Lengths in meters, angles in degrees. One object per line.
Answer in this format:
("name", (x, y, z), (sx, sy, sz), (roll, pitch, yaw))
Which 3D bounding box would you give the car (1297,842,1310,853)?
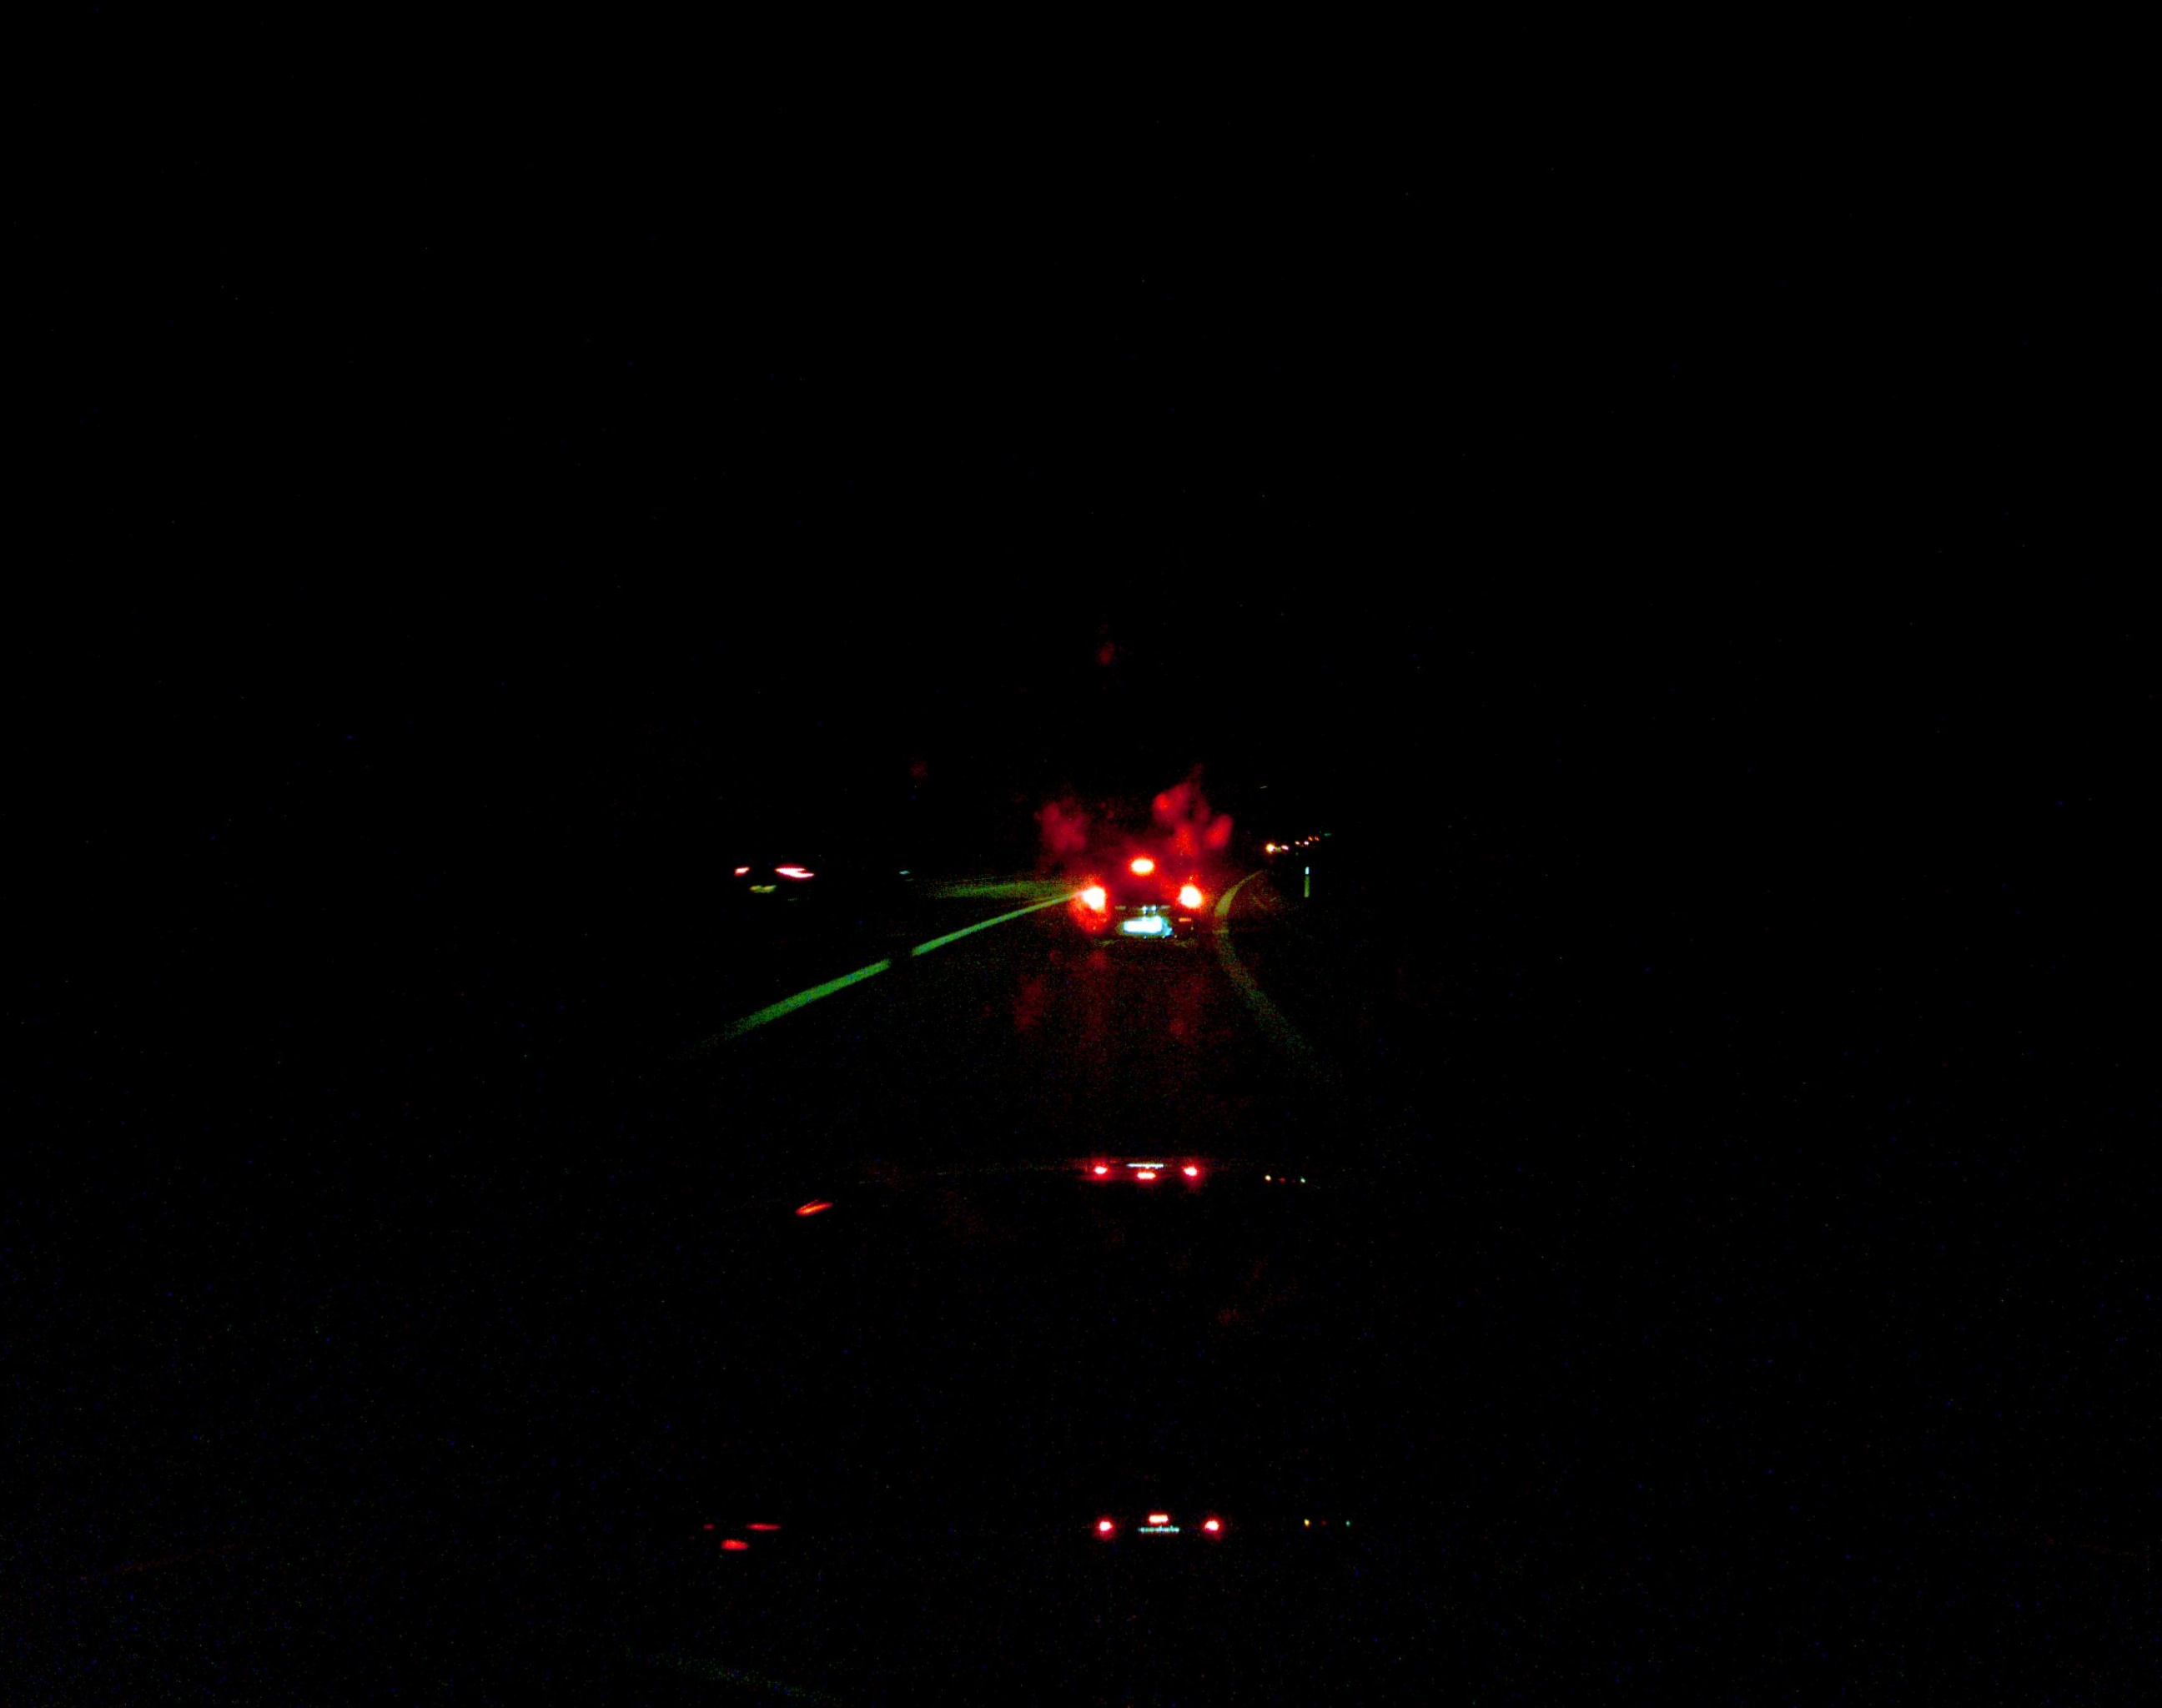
("car", (33.964, -1.068, 124.221), (1.719, 1.618, 3.816), (0, 1, 18))

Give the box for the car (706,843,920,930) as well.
("car", (-5.561, 0.580, 17.629), (1.924, 1.608, 4.666), (1, 1, 19))

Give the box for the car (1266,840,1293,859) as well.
("car", (18.394, -0.358, 75.356), (1.936, 1.538, 4.260), (-5, -2, 18))

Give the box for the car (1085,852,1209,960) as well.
("car", (0.946, 0.729, 13.515), (1.686, 1.477, 3.999), (0, 1, -1))
